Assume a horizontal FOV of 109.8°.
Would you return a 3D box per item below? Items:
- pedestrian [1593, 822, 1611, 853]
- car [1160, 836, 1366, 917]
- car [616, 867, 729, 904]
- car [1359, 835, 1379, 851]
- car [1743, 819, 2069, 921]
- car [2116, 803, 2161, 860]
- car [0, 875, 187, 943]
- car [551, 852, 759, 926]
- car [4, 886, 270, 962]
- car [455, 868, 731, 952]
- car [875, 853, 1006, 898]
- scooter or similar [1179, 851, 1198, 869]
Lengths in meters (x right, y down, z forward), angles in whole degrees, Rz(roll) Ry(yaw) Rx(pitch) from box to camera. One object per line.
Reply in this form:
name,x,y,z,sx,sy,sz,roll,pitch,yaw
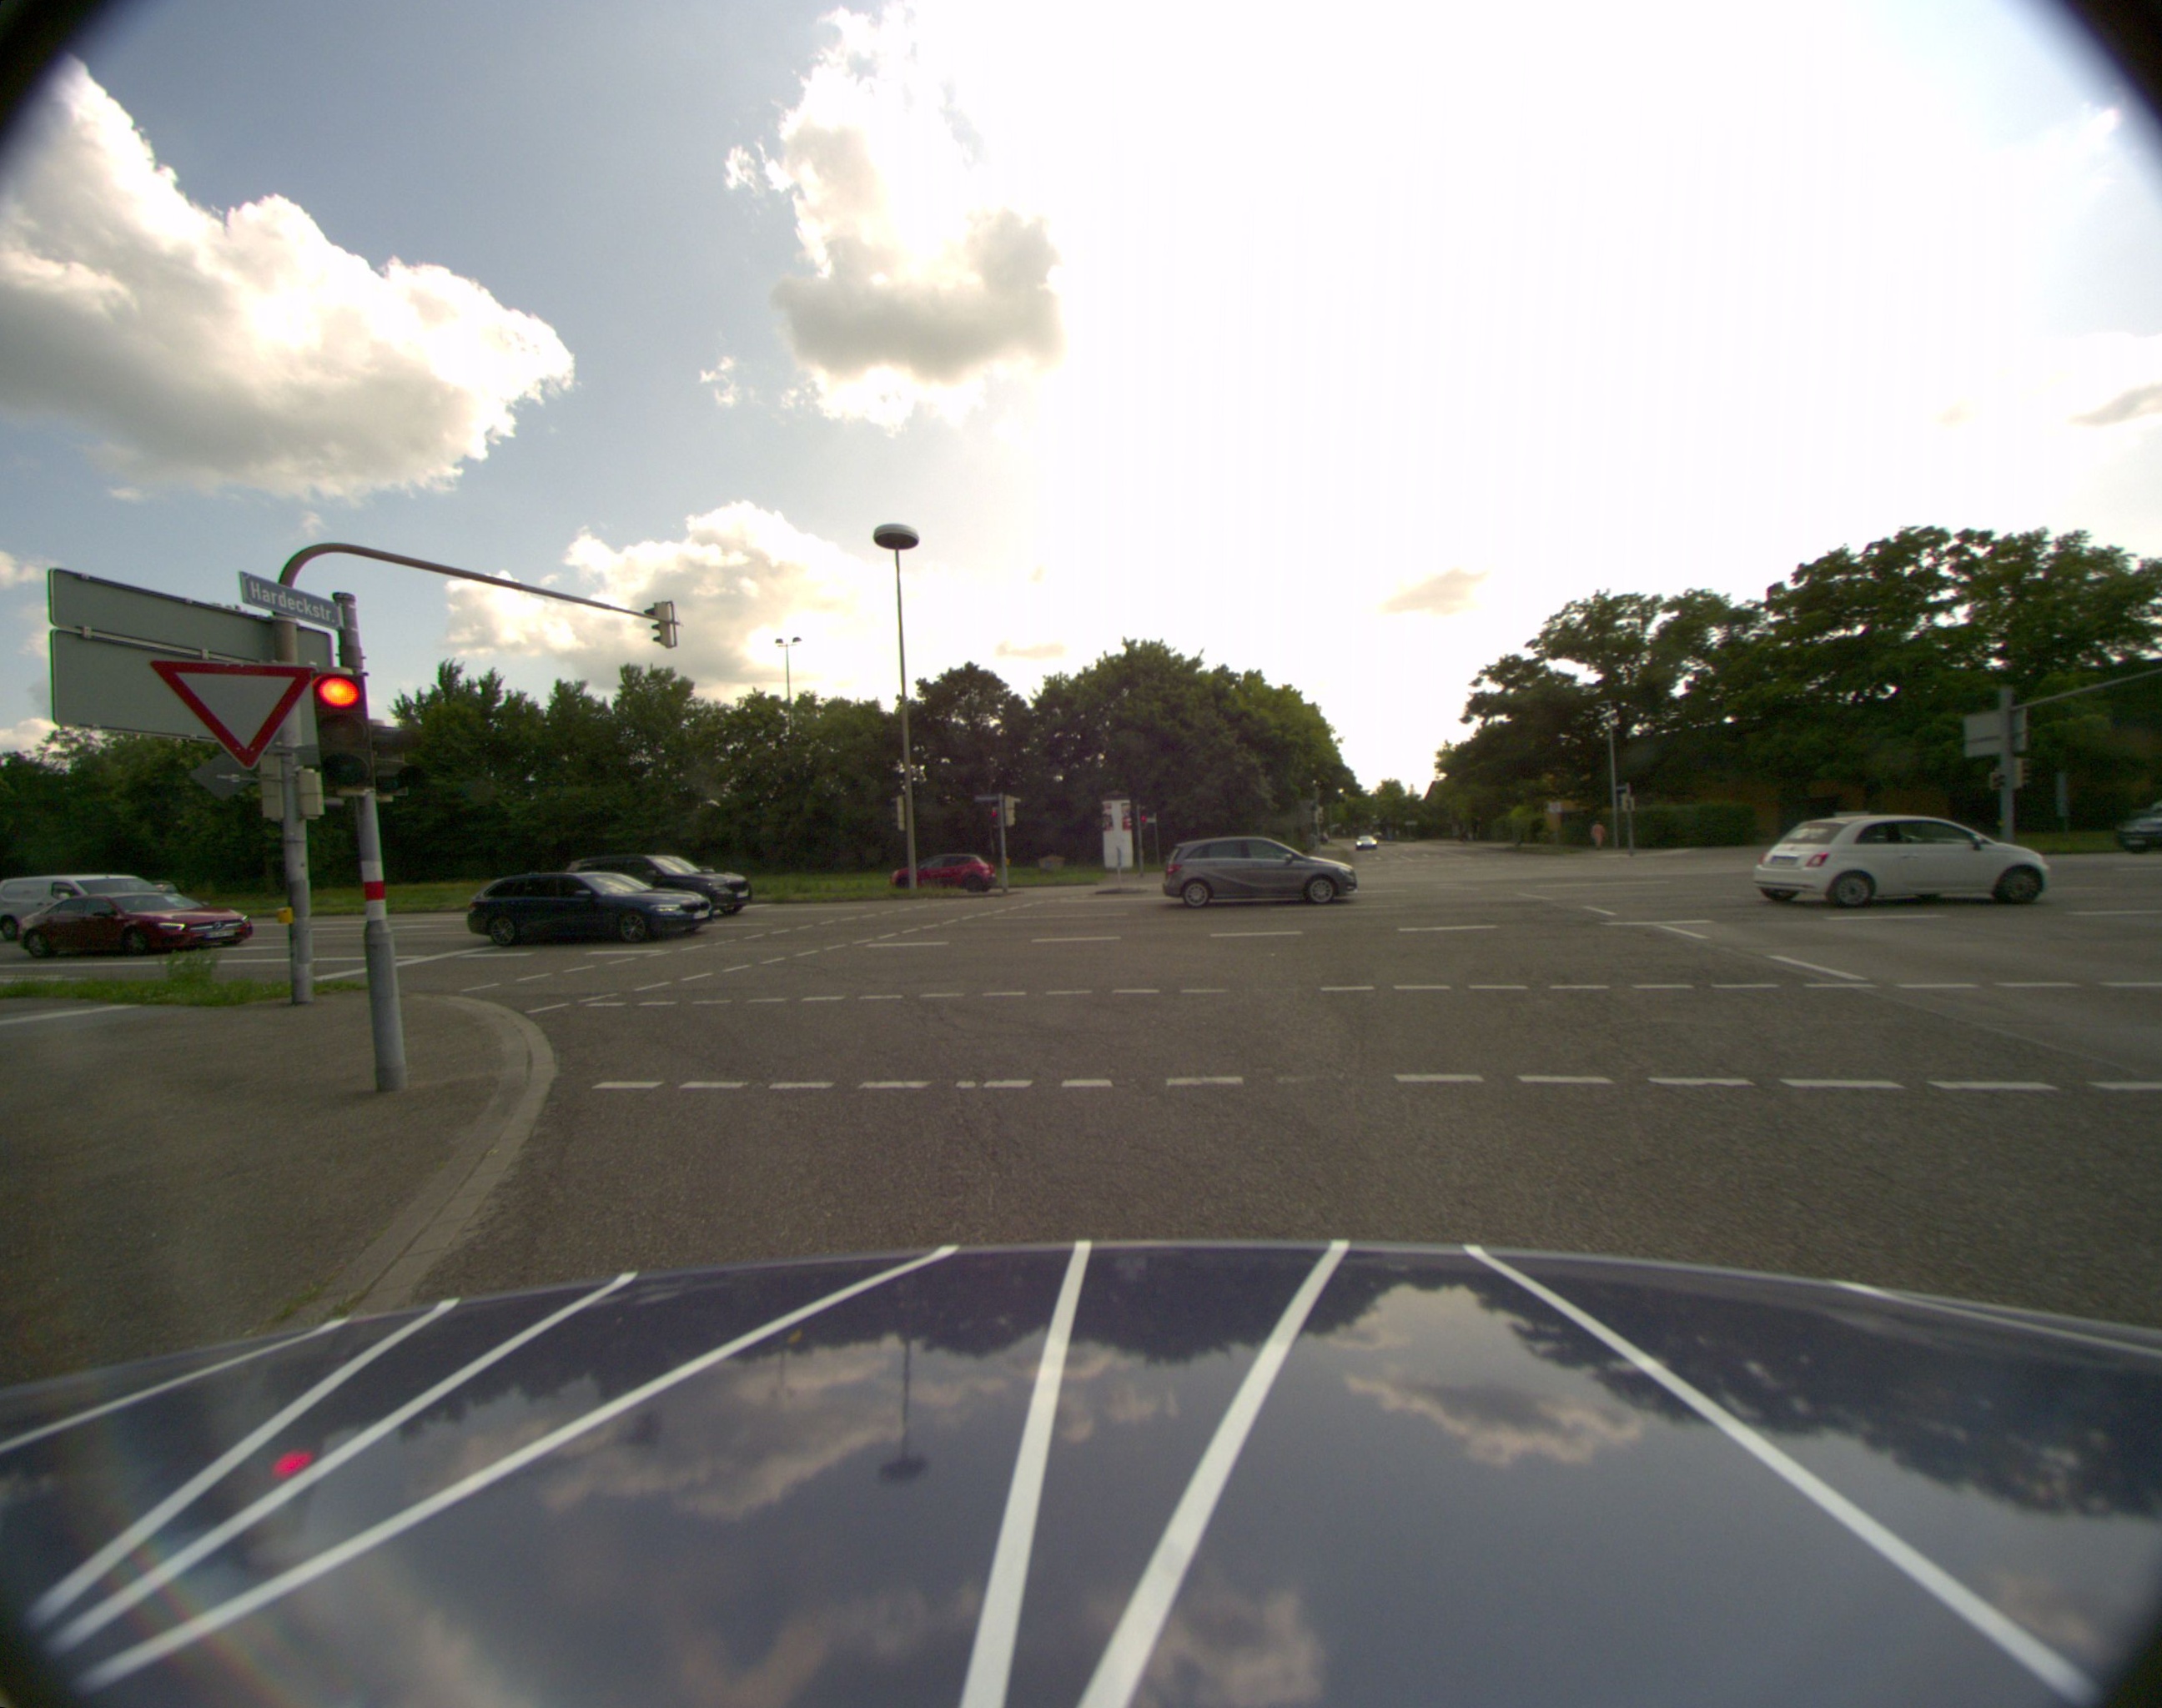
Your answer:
pedestrian,29.597,-0.946,43.157,0.691,1.732,0.706,-2,1,25
car,4.060,0.483,17.443,4.354,1.610,1.704,-2,2,8
car,-17.683,1.361,32.971,4.076,1.365,1.600,-2,1,6
car,28.071,-1.100,74.200,1.727,1.421,4.003,-1,3,19
car,13.670,0.250,12.788,3.535,1.488,1.575,-2,1,7
car,37.532,-0.835,24.685,4.810,1.846,1.772,-3,1,8
car,-29.842,1.617,22.669,4.724,1.788,1.771,-1,2,8
car,-11.187,0.901,20.105,4.543,1.736,1.819,-1,2,8
car,-22.043,1.615,17.823,4.529,1.455,1.729,-2,3,8
car,-10.298,1.169,16.204,4.866,1.489,1.802,-1,3,8
car,-5.191,0.776,28.461,4.450,1.456,1.778,-2,1,5
scooter or similar,6.014,0.336,42.442,1.034,0.937,0.297,-1,4,15
